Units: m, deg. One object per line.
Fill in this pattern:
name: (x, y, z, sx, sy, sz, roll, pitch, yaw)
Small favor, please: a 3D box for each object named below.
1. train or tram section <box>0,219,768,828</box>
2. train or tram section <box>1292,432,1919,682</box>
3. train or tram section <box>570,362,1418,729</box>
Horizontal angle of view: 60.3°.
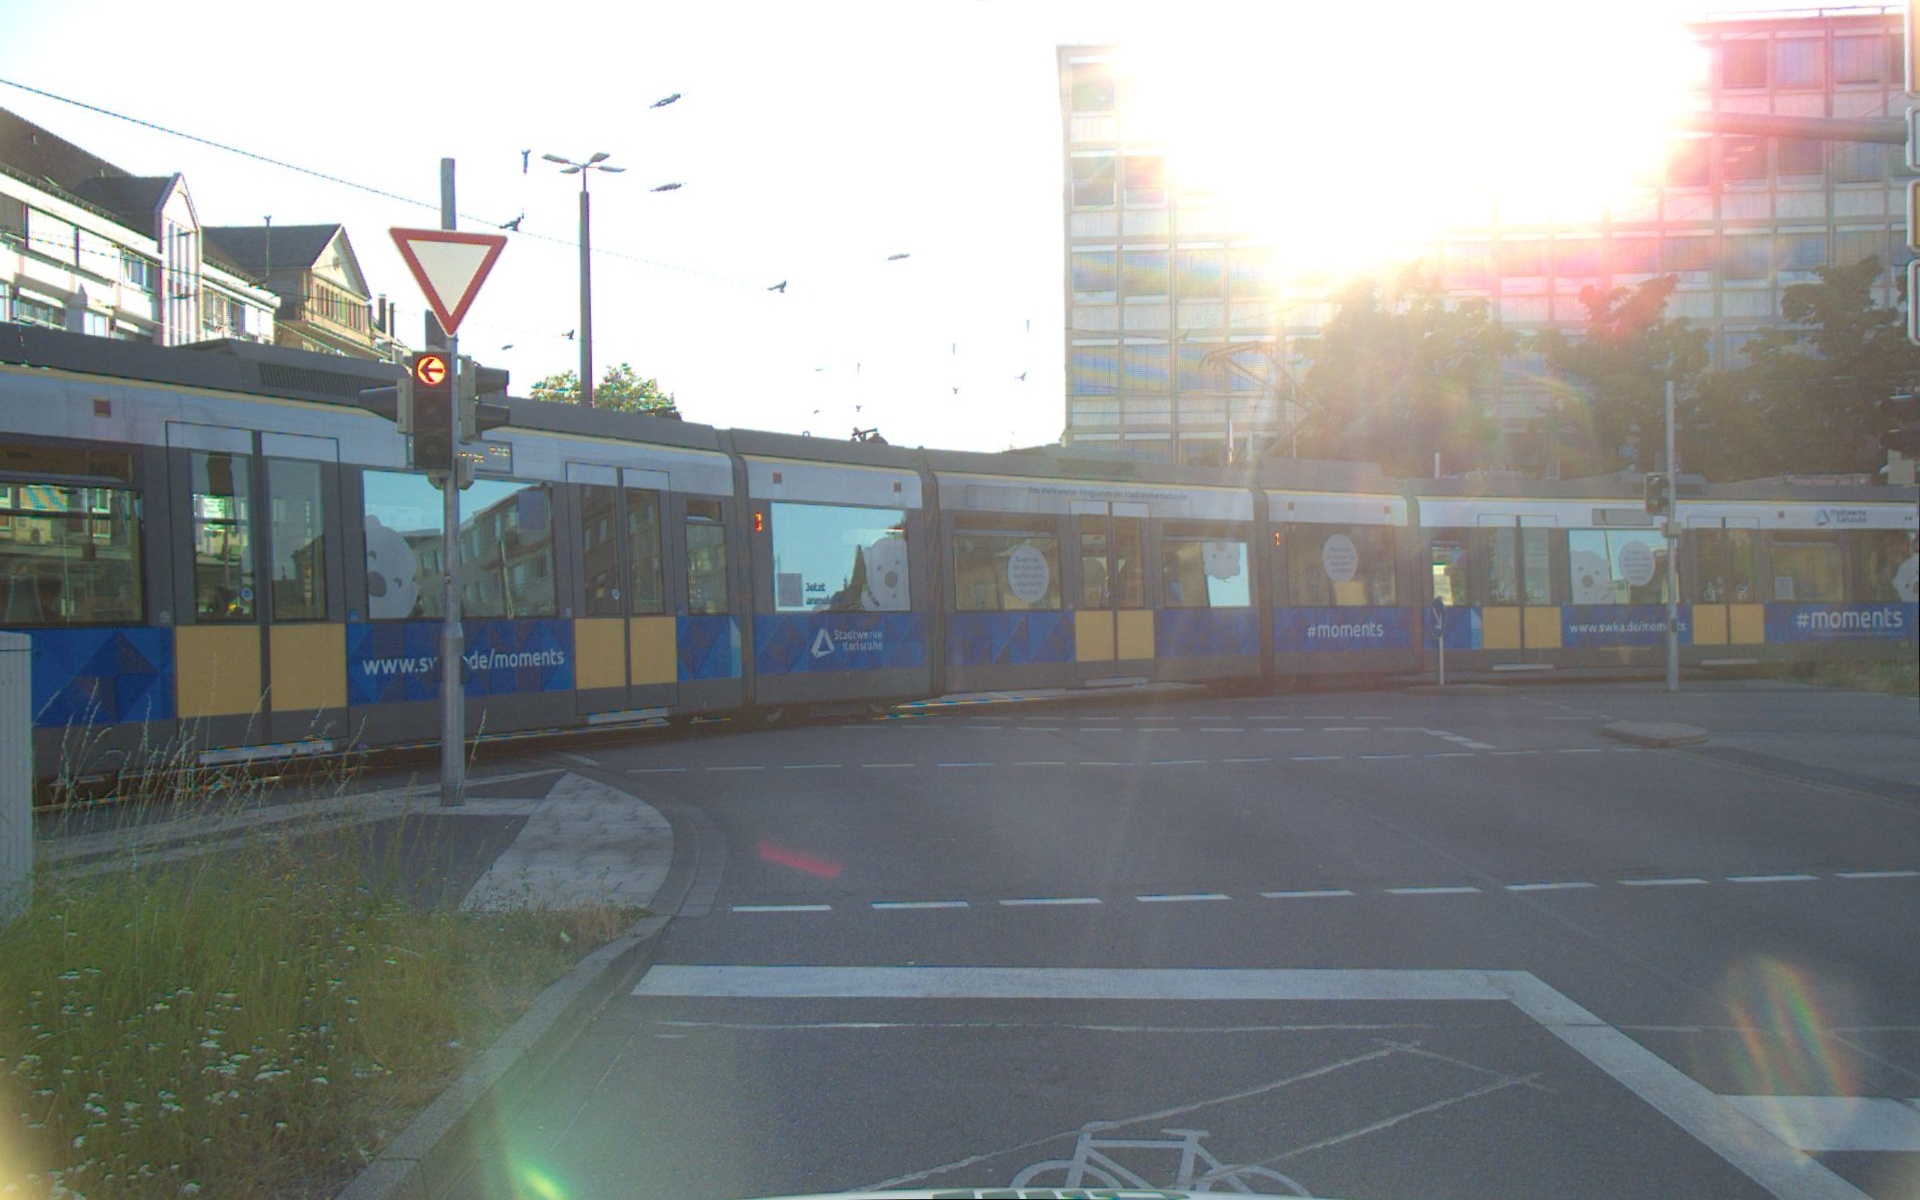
train or tram section: (-6.861, -0.476, 13.092, 3.633, 3.901, 13.340, -1, 0, 28)
train or tram section: (12.492, -0.568, 29.662, 12.740, 3.901, 3.695, 1, 0, -19)
train or tram section: (1.197, -0.611, 23.228, 12.863, 3.900, 3.661, 0, 0, -41)
